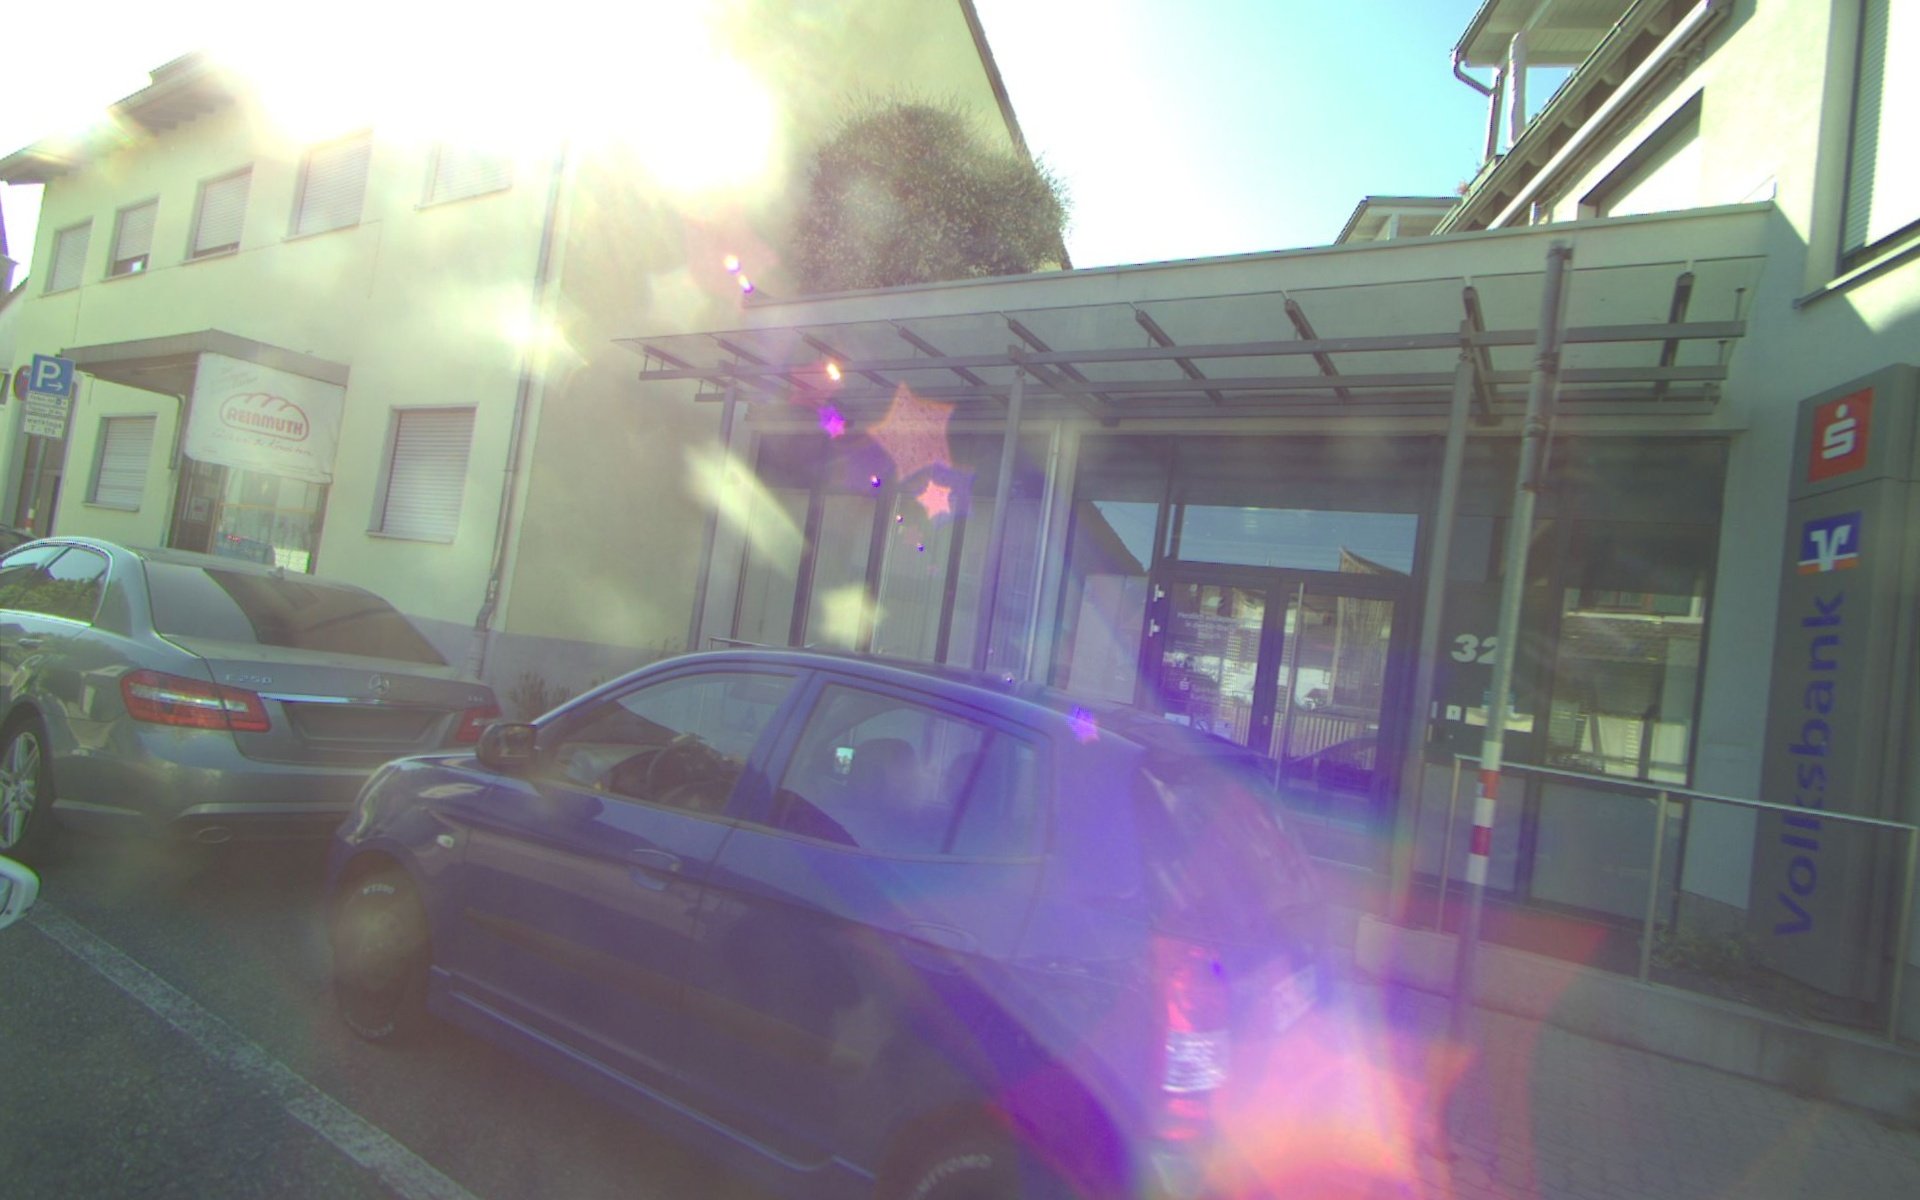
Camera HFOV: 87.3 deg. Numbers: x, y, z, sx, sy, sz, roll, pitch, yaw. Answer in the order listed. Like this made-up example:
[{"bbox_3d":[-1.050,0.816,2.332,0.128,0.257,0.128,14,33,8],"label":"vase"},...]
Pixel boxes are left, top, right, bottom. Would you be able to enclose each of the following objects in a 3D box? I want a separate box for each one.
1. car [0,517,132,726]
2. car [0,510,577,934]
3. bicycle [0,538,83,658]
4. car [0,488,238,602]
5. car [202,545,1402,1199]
[{"bbox_3d":[-9.144,-0.107,8.489,4.765,1.490,1.814,6,-5,33],"label":"car"},{"bbox_3d":[-4.437,0.425,5.675,4.371,1.490,1.814,7,-5,32],"label":"car"},{"bbox_3d":[-10.342,-0.042,11.119,1.483,1.171,0.508,6,-1,35],"label":"bicycle"},{"bbox_3d":[-19.137,-1.207,22.190,1.875,1.908,4.776,7,-1,26],"label":"car"},{"bbox_3d":[-0.700,0.842,3.548,3.811,1.490,1.731,7,-5,32],"label":"car"}]
